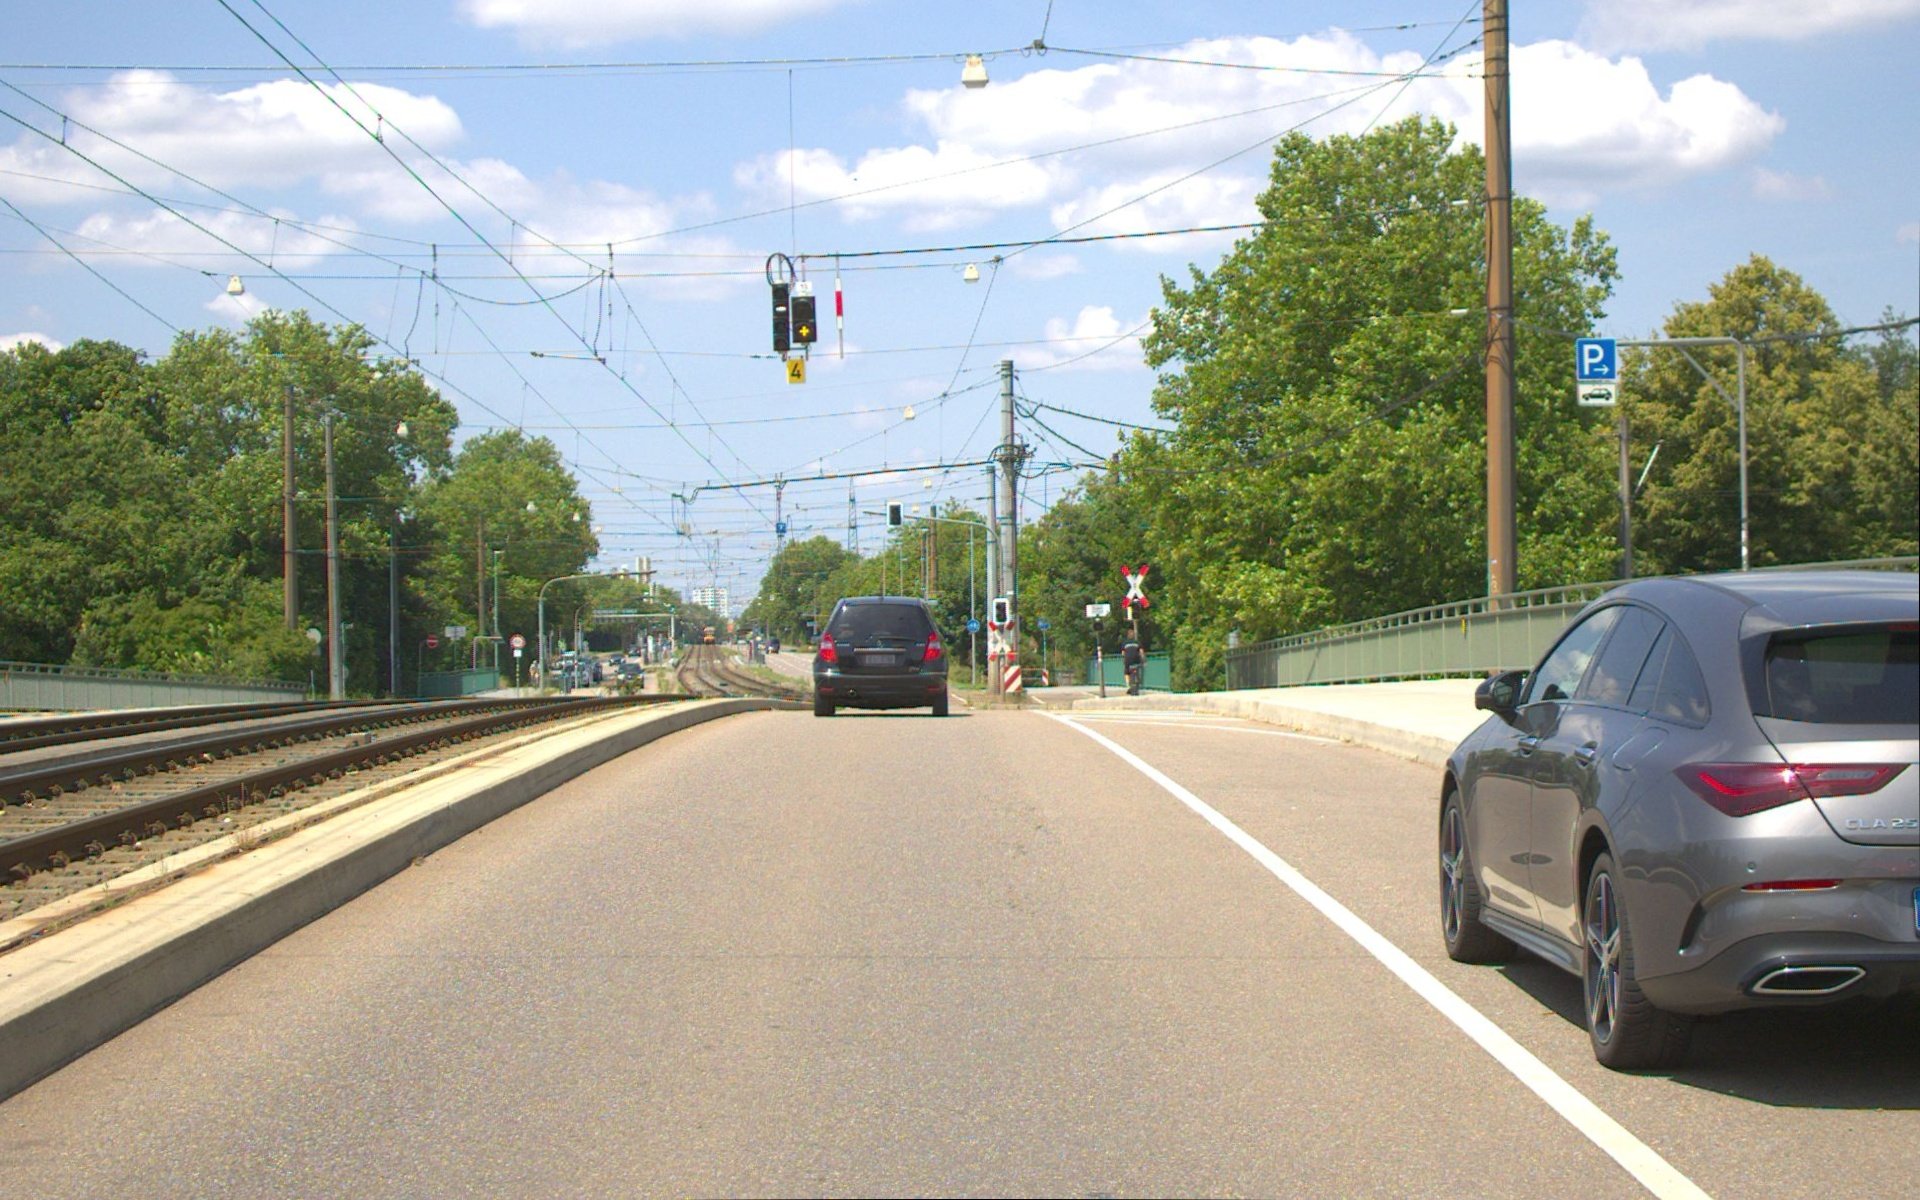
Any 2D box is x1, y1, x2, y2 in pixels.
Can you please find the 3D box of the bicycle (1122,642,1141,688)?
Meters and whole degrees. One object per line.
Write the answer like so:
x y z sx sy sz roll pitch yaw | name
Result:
4.547 1.720 91.198 0.432 1.148 1.855 1 0 1 | bicycle

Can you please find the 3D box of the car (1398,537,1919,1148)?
2.754 0.585 11.177 1.993 1.546 4.722 0 1 -1 | car

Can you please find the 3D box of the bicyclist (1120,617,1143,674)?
4.555 1.214 91.256 0.585 1.490 0.558 1 0 1 | bicyclist

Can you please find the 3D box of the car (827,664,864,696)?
-6.505 4.516 195.362 1.885 1.634 4.000 3 0 0 | car

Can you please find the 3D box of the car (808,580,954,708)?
-1.037 0.547 46.068 1.853 1.565 4.388 0 1 -1 | car

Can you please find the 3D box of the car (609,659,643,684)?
-20.395 4.388 210.083 1.705 1.505 3.733 -1 -2 0 | car
